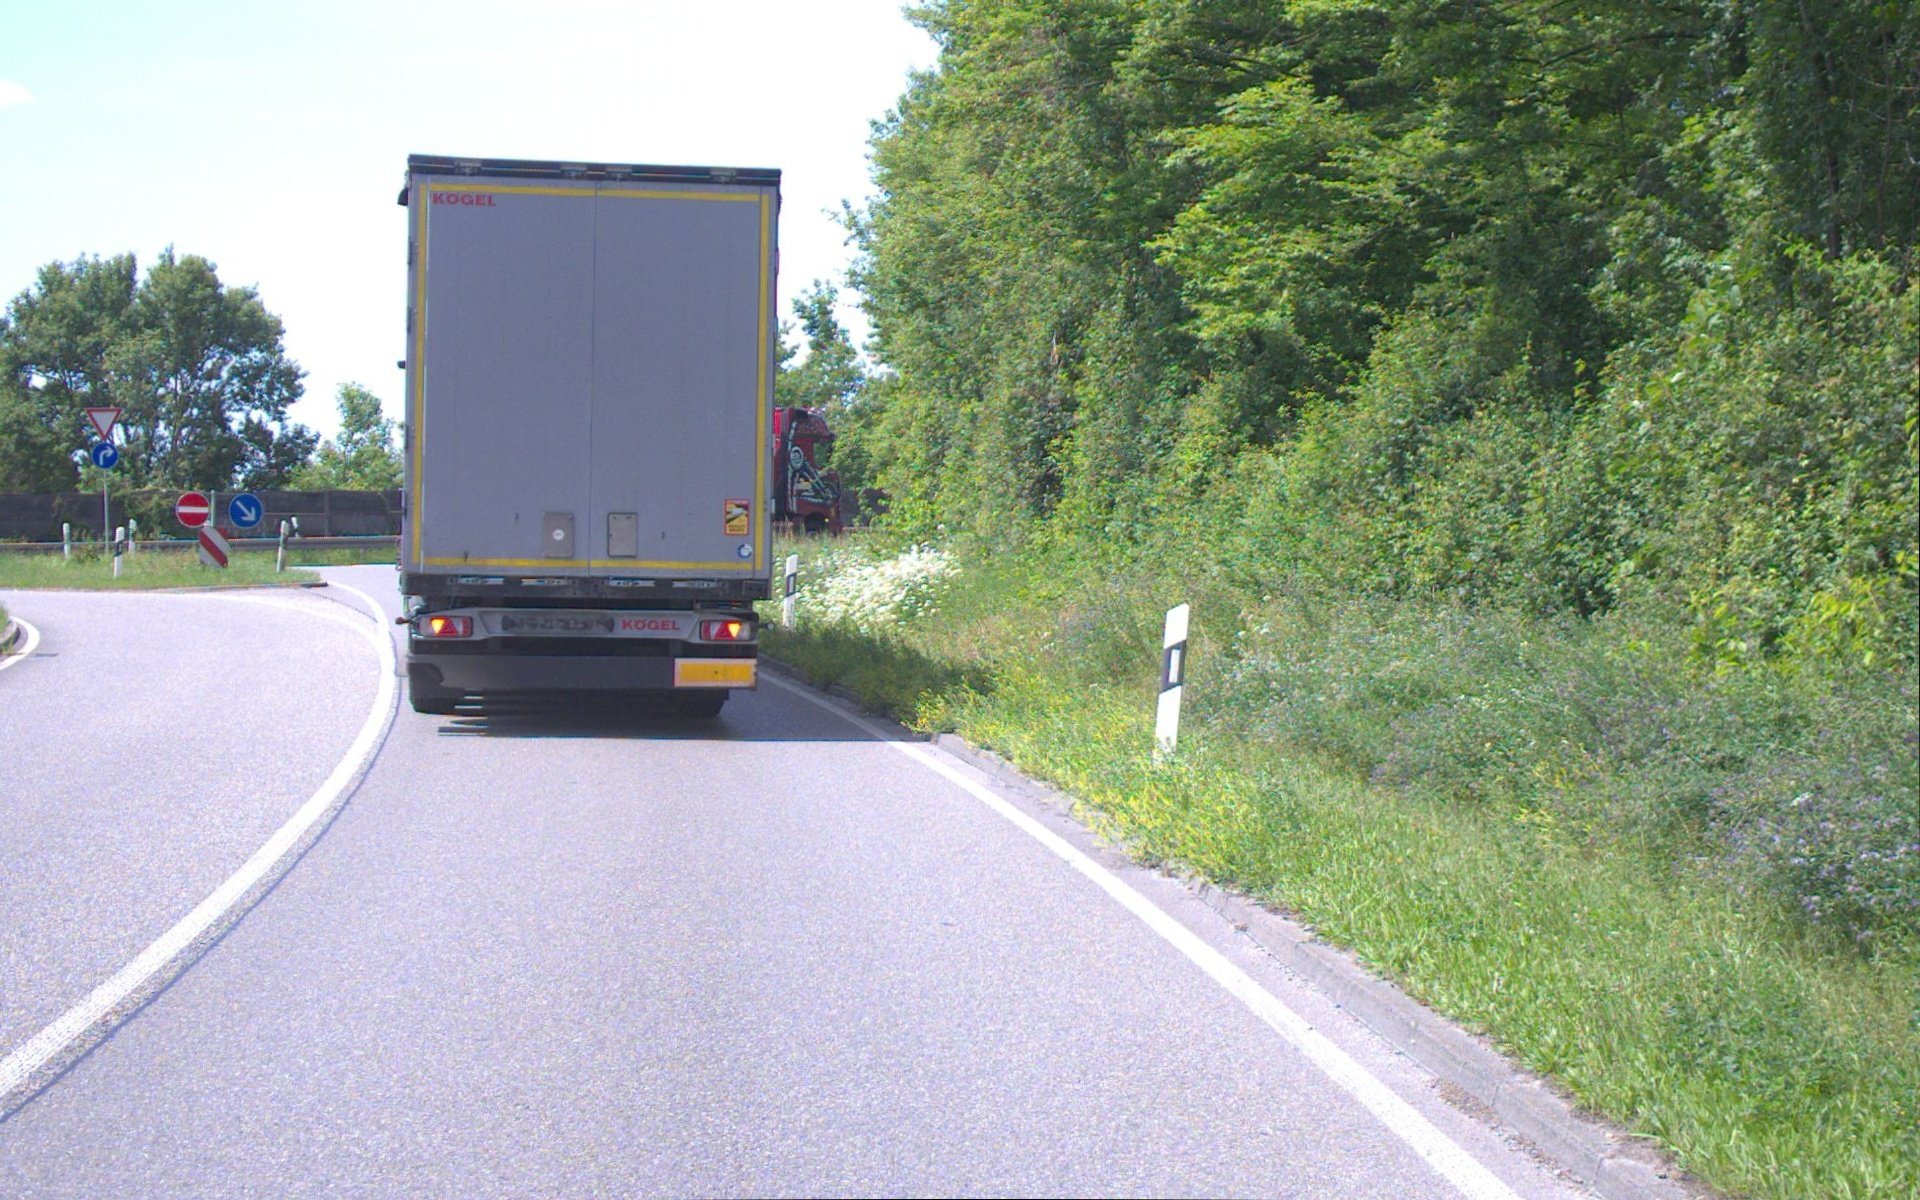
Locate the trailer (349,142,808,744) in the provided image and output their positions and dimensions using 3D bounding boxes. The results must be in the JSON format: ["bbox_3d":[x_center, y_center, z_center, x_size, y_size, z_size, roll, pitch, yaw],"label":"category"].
[{"bbox_3d":[-3.453,-1.196,30.023,3.026,4.021,13.355,1,1,-7],"label":"trailer"}]

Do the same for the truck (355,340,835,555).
[{"bbox_3d":[-8.433,-3.545,83.798,3.833,4.728,16.182,0,1,25],"label":"truck"}]

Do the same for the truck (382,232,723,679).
[{"bbox_3d":[-4.336,-1.437,36.748,3.152,4.210,7.124,2,1,-7],"label":"truck"}]
